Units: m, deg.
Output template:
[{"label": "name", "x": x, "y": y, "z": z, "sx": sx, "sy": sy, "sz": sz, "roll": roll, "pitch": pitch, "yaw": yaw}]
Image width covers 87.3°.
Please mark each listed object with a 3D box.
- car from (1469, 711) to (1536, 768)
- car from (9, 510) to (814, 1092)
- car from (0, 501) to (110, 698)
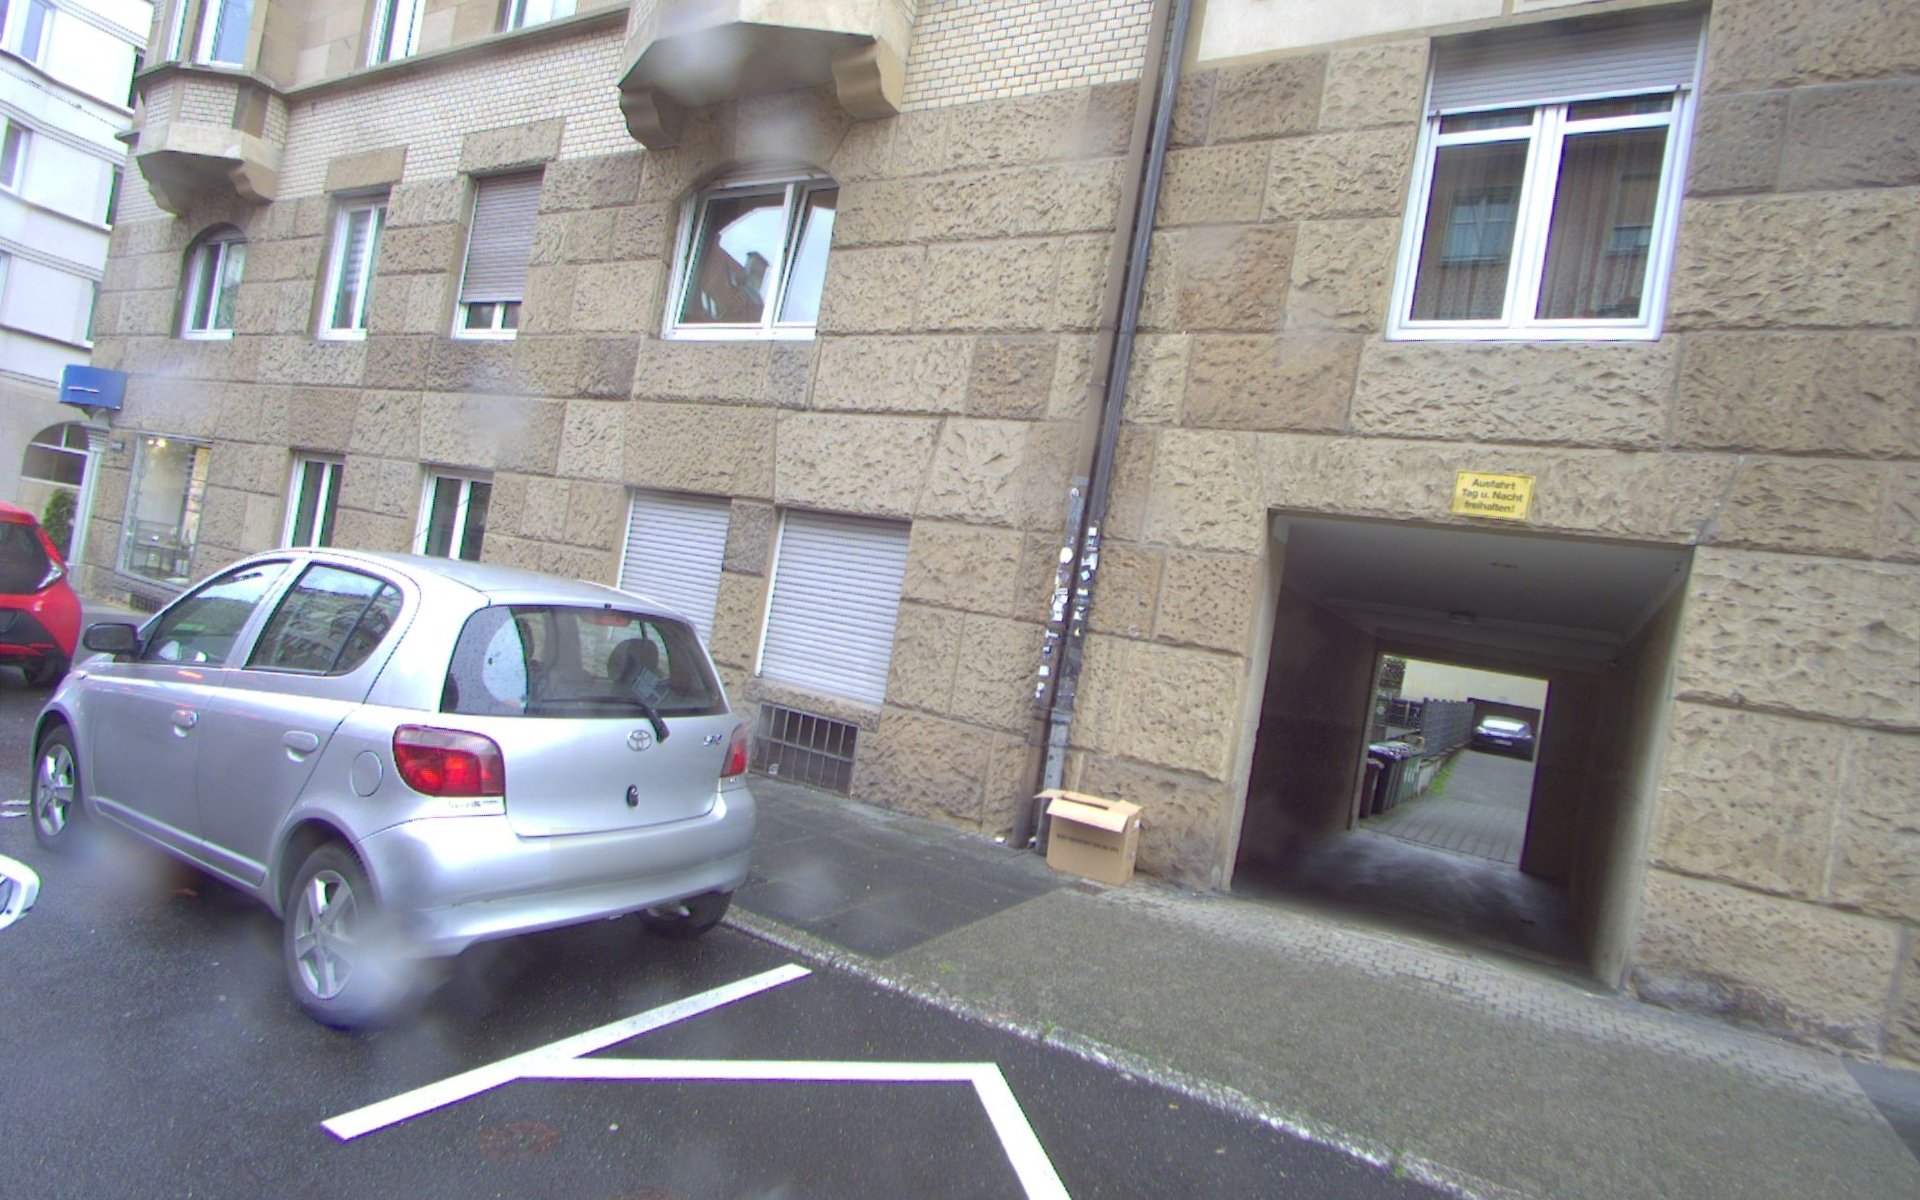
[{"label": "car", "x": 18.346, "y": 4.695, "z": 33.936, "sx": 1.693, "sy": 1.538, "sz": 4.102, "roll": 7, "pitch": -3, "yaw": 31}, {"label": "car", "x": -2.477, "y": 0.552, "z": 4.392, "sx": 3.258, "sy": 1.485, "sz": 1.616, "roll": 7, "pitch": 0, "yaw": 33}, {"label": "car", "x": -8.726, "y": -0.195, "z": 8.169, "sx": 3.243, "sy": 1.464, "sz": 1.646, "roll": 7, "pitch": -2, "yaw": 29}]
